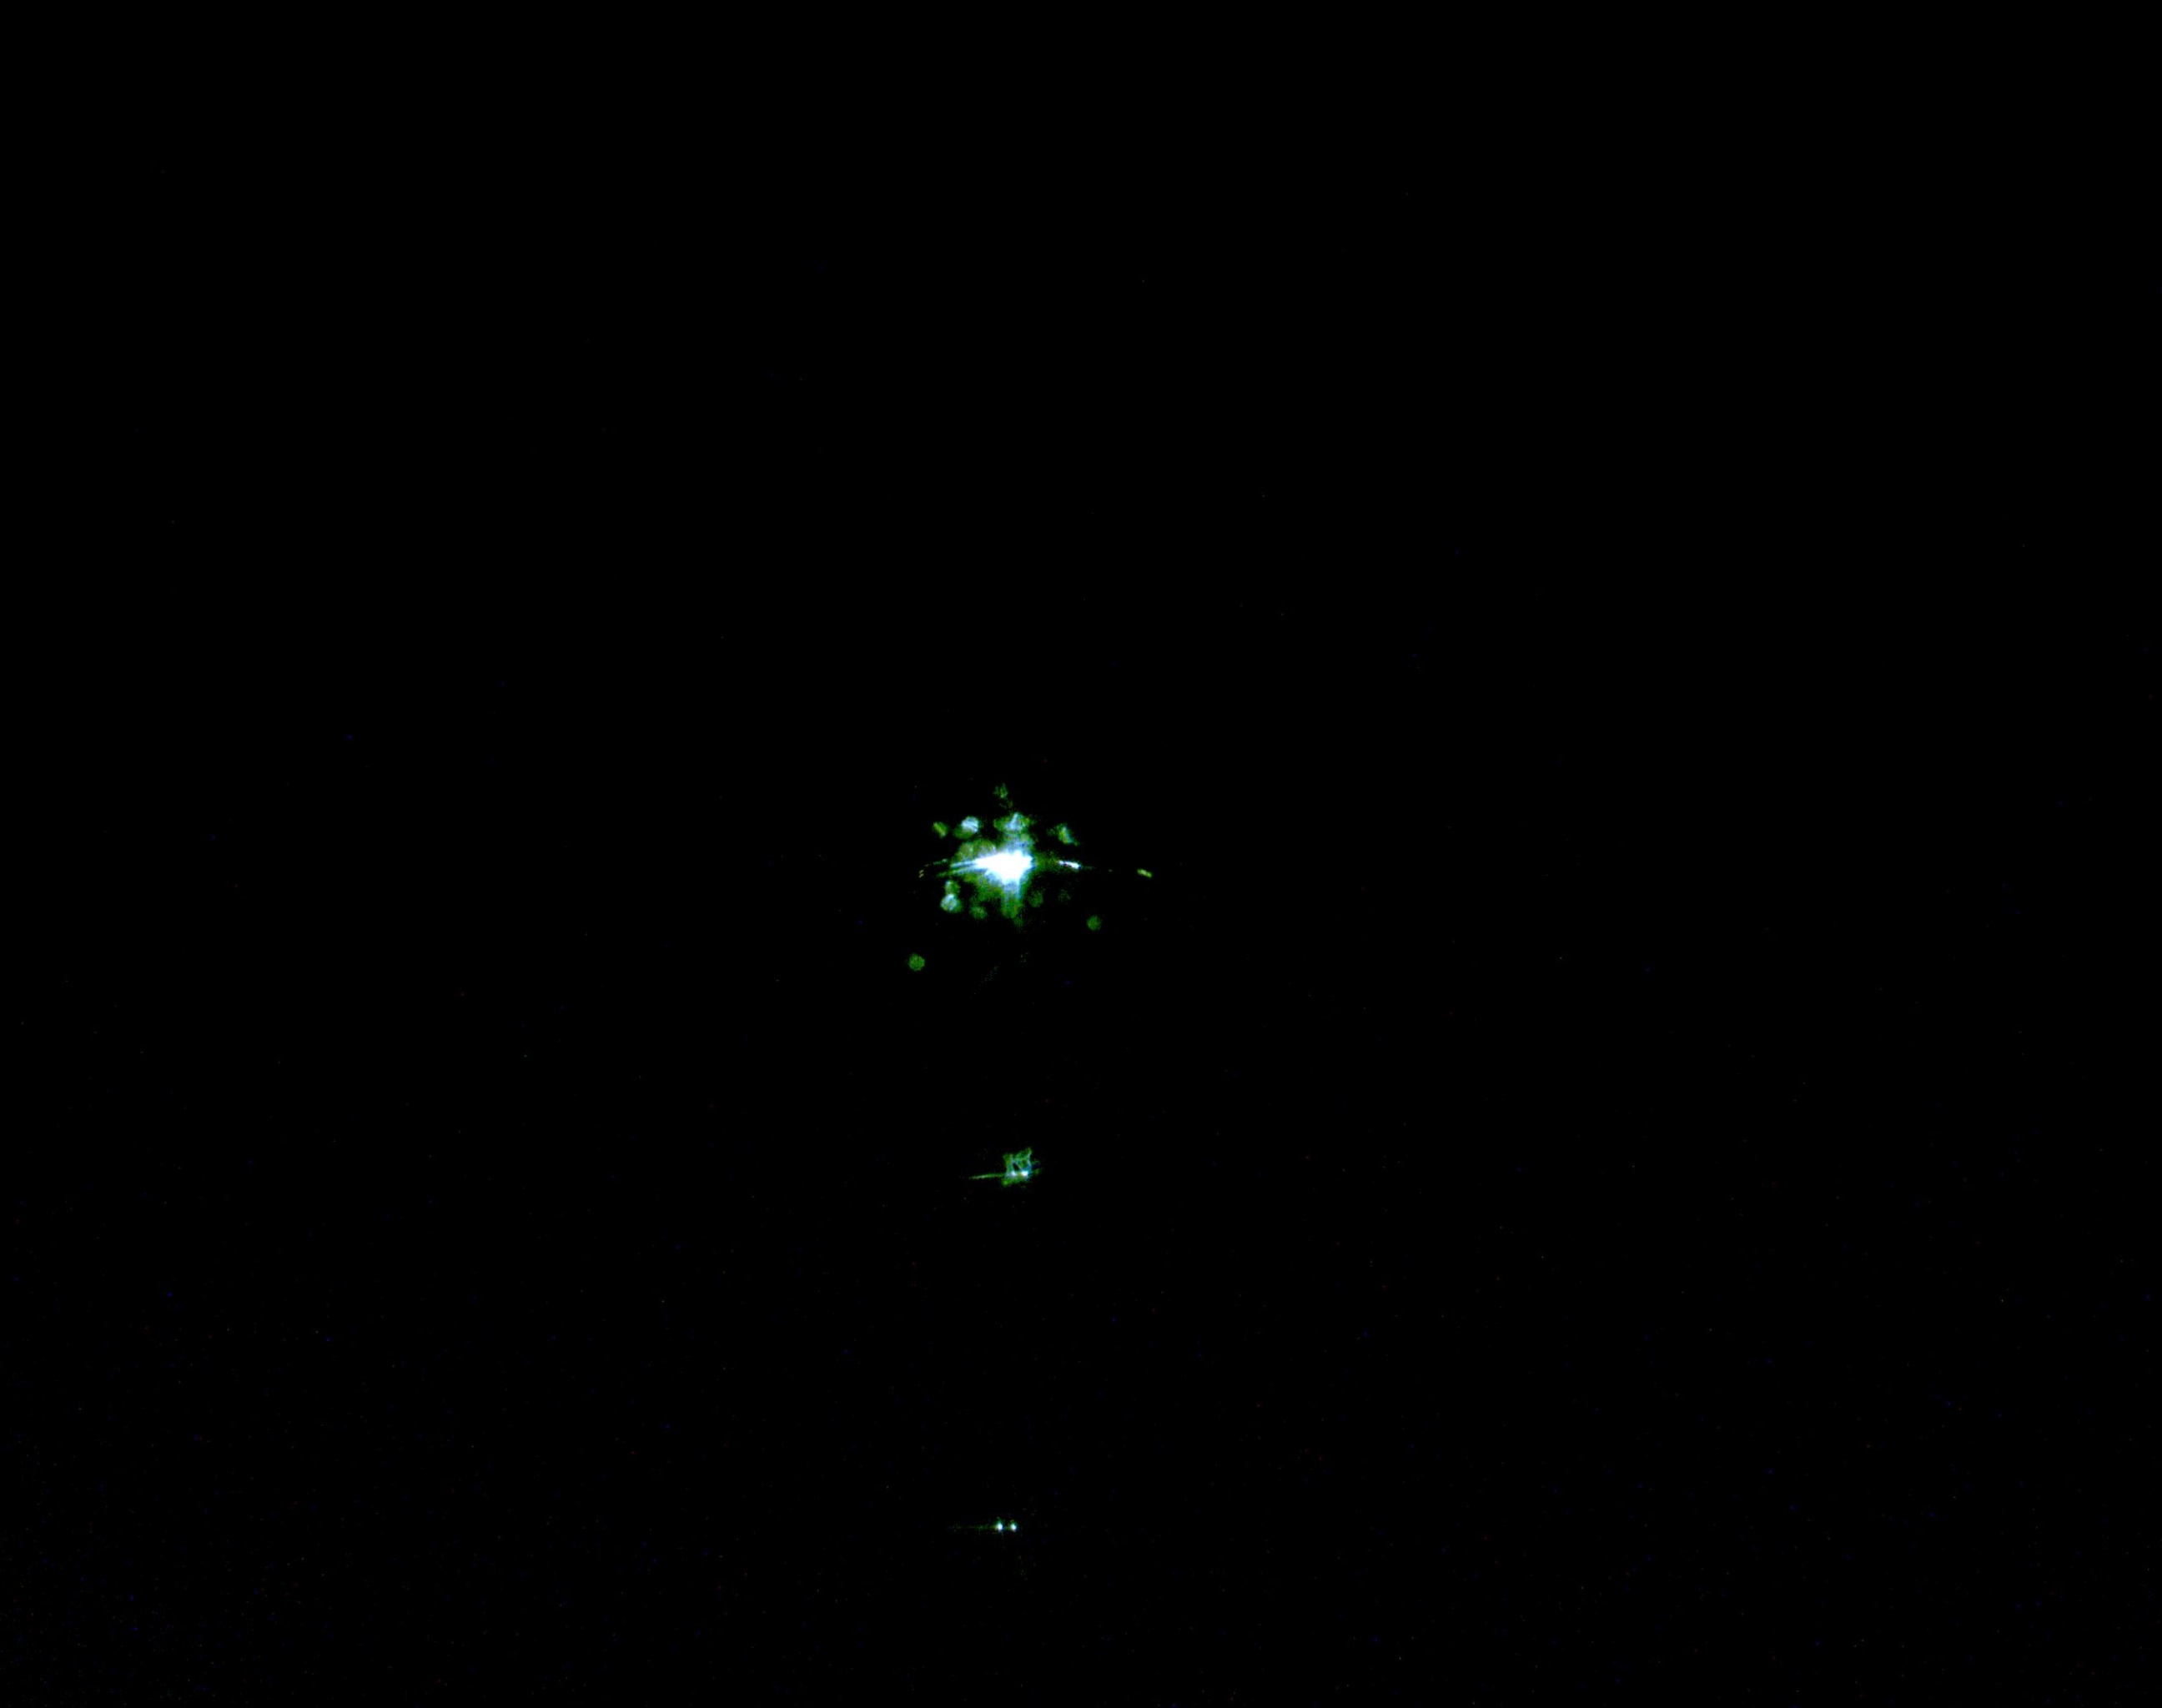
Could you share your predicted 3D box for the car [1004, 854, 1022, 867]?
[{"bbox_3d":[-8.002,0.775,95.672,1.990,1.472,3.831,1,0,-4],"label":"car"}]
